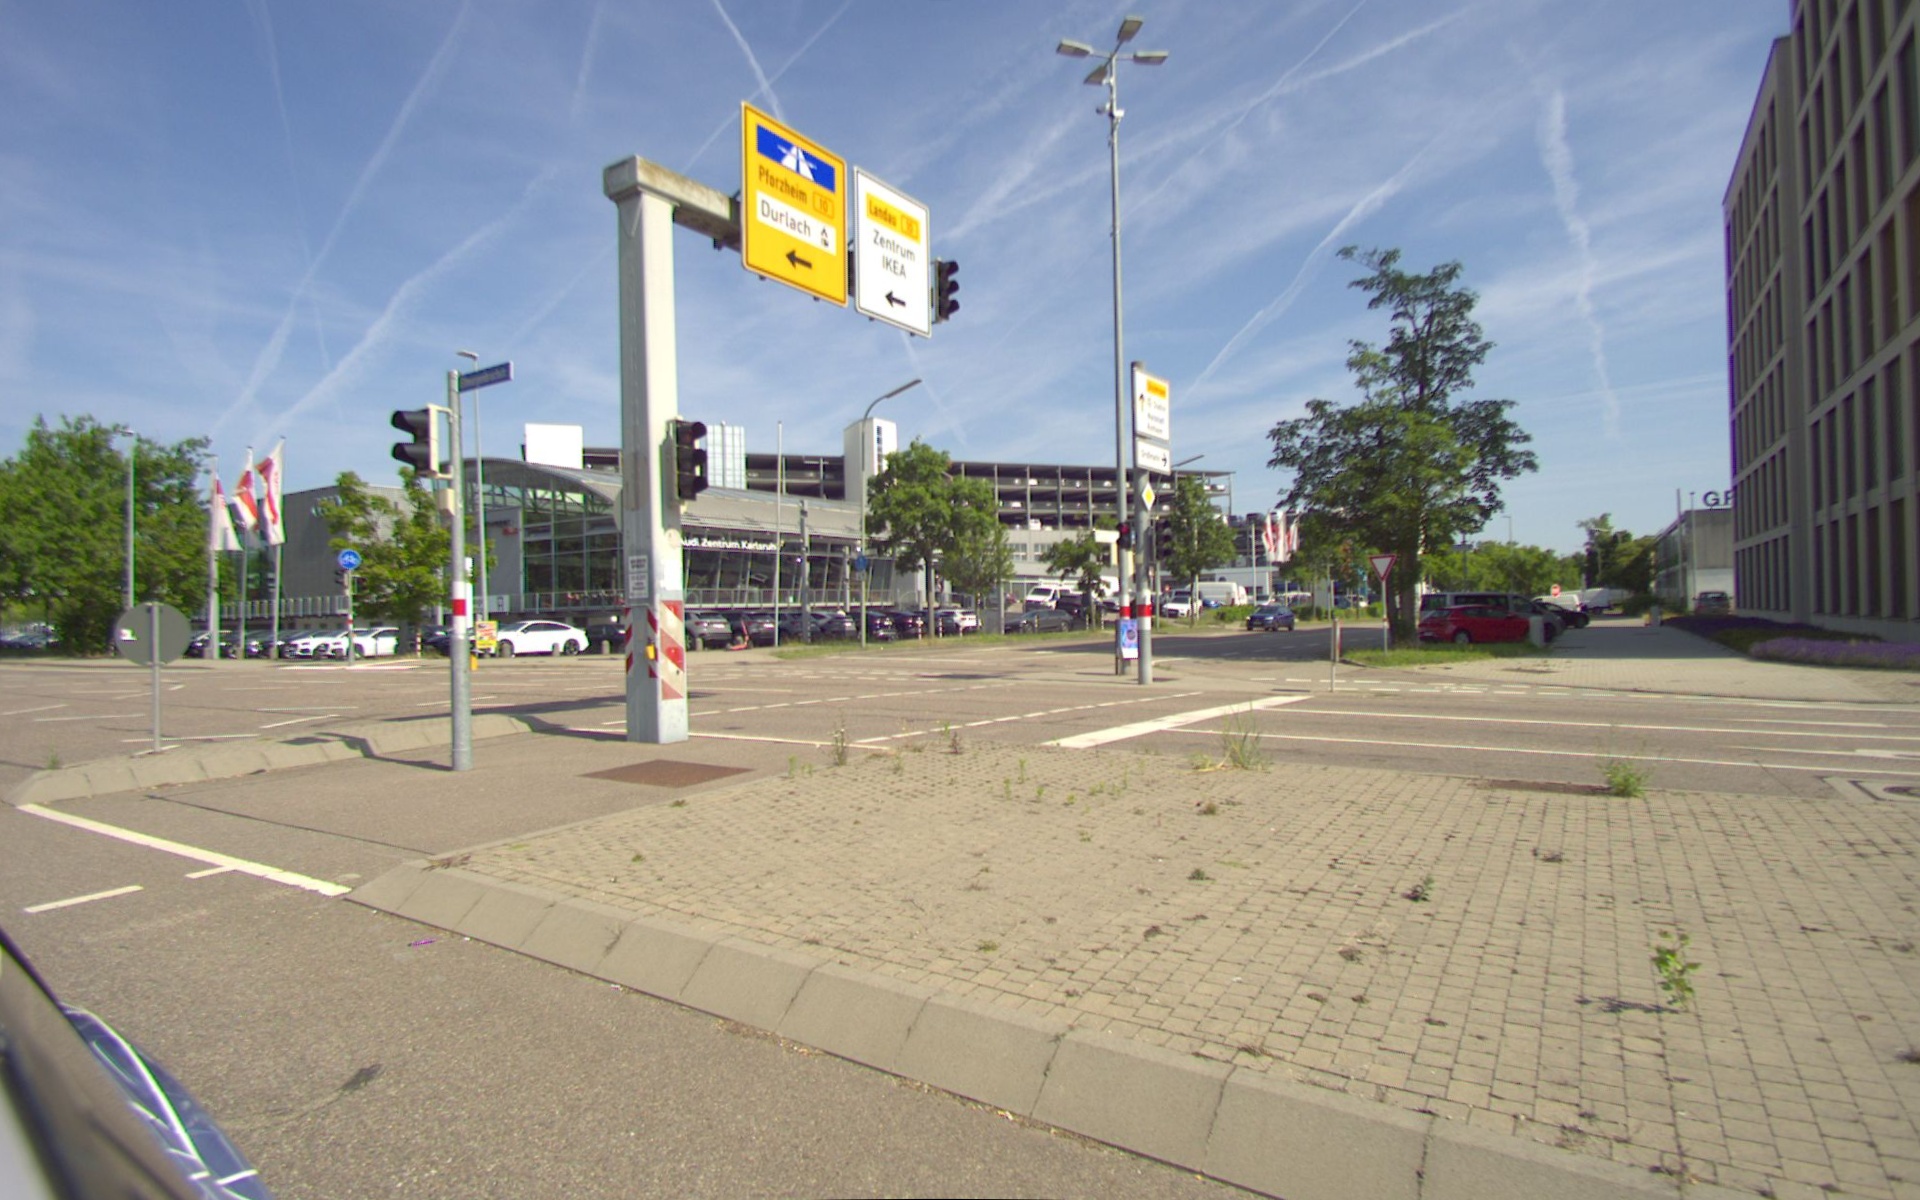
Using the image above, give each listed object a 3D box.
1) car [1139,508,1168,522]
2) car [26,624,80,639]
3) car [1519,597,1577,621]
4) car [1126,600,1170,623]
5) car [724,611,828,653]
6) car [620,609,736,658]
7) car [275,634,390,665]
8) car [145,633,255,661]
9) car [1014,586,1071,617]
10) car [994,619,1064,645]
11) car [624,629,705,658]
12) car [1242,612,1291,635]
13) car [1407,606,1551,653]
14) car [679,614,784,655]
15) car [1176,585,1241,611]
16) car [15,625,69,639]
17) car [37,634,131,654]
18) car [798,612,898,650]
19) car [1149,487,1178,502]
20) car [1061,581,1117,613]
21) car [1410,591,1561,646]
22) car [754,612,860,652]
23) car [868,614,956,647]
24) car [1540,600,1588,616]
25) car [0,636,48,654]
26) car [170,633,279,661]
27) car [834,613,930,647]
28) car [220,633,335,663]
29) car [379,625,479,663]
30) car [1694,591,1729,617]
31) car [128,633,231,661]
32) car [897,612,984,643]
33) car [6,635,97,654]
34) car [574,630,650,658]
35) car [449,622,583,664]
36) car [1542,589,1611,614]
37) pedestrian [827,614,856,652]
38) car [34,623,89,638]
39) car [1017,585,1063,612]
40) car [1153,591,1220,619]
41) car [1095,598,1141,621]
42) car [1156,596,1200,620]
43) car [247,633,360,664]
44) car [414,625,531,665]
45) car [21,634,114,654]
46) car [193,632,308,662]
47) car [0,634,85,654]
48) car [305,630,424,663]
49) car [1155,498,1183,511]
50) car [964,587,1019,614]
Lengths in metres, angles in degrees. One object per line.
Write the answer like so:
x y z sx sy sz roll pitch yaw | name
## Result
29.888 -13.067 156.398 3.981 1.729 2.018 -1 -1 28 | car
-101.263 3.535 113.011 1.685 1.511 4.152 -2 -4 33 | car
50.145 0.779 86.300 4.226 1.954 1.878 -2 -1 33 | car
14.020 0.835 75.336 1.992 1.586 3.945 -2 0 30 | car
-8.074 1.405 44.265 4.361 1.556 1.774 -5 -3 32 | car
-11.115 1.336 39.743 4.582 1.626 1.799 -5 -3 33 | car
-27.918 2.209 45.157 1.862 1.329 3.956 -2 -4 32 | car
-39.472 2.464 52.654 1.796 1.405 4.183 -2 -4 32 | car
5.561 0.067 67.960 2.081 1.922 4.501 2 2 30 | car
4.215 1.959 61.868 3.959 1.453 1.803 0 -1 -31 | car
-15.192 2.244 51.937 4.051 1.389 1.774 -2 -1 32 | car
18.279 1.383 60.274 1.657 1.299 3.757 -2 -1 37 | car
17.507 0.983 34.242 3.965 1.426 1.811 -2 -1 -9 | car
-9.462 1.426 41.834 4.186 1.453 1.774 -5 -3 32 | car
20.395 -0.131 83.130 4.734 2.029 1.979 -2 -2 32 | car
-103.524 3.614 114.172 1.685 1.511 4.152 -2 -4 33 | car
-55.320 2.807 63.970 1.685 1.256 4.152 -2 -4 33 | car
-5.438 1.511 48.919 4.659 1.529 1.764 -5 -3 32 | car
31.492 -16.303 156.555 3.981 1.729 2.018 -1 -1 28 | car
10.034 -0.245 78.415 2.082 2.360 5.489 -3 0 33 | car
19.372 0.682 37.381 4.735 1.835 1.902 -2 -1 -11 | car
-7.083 1.485 46.624 4.761 1.517 1.774 -5 -3 32 | car
-2.535 1.610 53.340 4.387 1.453 1.774 -4 -3 32 | car
58.289 0.800 97.645 3.858 1.484 1.790 -2 -1 33 | car
-68.243 3.243 72.431 1.685 1.265 4.152 -2 -4 33 | car
-37.167 2.377 51.253 1.828 1.365 4.080 -2 -4 31 | car
-3.962 1.527 51.036 4.616 1.453 1.774 -5 -3 32 | car
-32.408 2.295 48.182 1.848 1.345 4.143 -2 -4 32 | car
-22.279 1.837 42.382 4.412 1.507 1.783 -2 -1 33 | car
50.948 0.252 68.665 1.746 1.696 3.952 -2 0 35 | car
-41.718 2.522 54.170 1.803 1.413 3.994 -2 -4 31 | car
-1.104 1.504 55.622 4.544 1.453 1.774 -4 -3 32 | car
-59.587 2.927 66.453 1.685 1.215 4.152 -2 -4 33 | car
-17.162 2.170 49.827 3.670 1.316 1.593 -2 -1 32 | car
-16.748 1.590 38.382 1.895 1.443 4.336 -2 -1 34 | car
63.485 0.200 104.293 5.894 2.450 2.347 -2 -1 37 | car
-5.568 1.563 47.572 1.001 1.763 0.906 -2 -1 34 | pedestrian
-99.077 3.406 111.645 1.685 1.511 4.152 -2 -4 33 | car
7.223 -0.094 90.533 2.152 2.295 4.638 -2 -1 32 | car
17.586 0.431 78.657 4.734 2.029 1.979 -2 -2 32 | car
12.068 0.689 76.997 1.994 1.586 3.941 -2 0 33 | car
16.011 0.584 74.115 1.992 1.586 3.946 -2 1 30 | car
-30.103 2.241 46.496 1.832 1.329 3.954 -2 -4 33 | car
-18.965 1.723 39.517 1.757 1.413 3.807 -2 -1 30 | car
-57.468 2.866 65.230 1.685 1.204 4.152 -2 -4 33 | car
-34.868 2.330 49.846 1.823 1.365 4.249 -2 -4 31 | car
-61.655 2.970 67.894 1.685 1.264 4.152 -2 -4 33 | car
-25.684 2.027 43.797 1.872 1.380 4.041 -2 -4 32 | car
34.190 -15.586 165.506 3.981 1.729 2.018 -1 -1 28 | car
2.535 0.076 81.364 4.056 2.029 1.833 -2 -2 32 | car
